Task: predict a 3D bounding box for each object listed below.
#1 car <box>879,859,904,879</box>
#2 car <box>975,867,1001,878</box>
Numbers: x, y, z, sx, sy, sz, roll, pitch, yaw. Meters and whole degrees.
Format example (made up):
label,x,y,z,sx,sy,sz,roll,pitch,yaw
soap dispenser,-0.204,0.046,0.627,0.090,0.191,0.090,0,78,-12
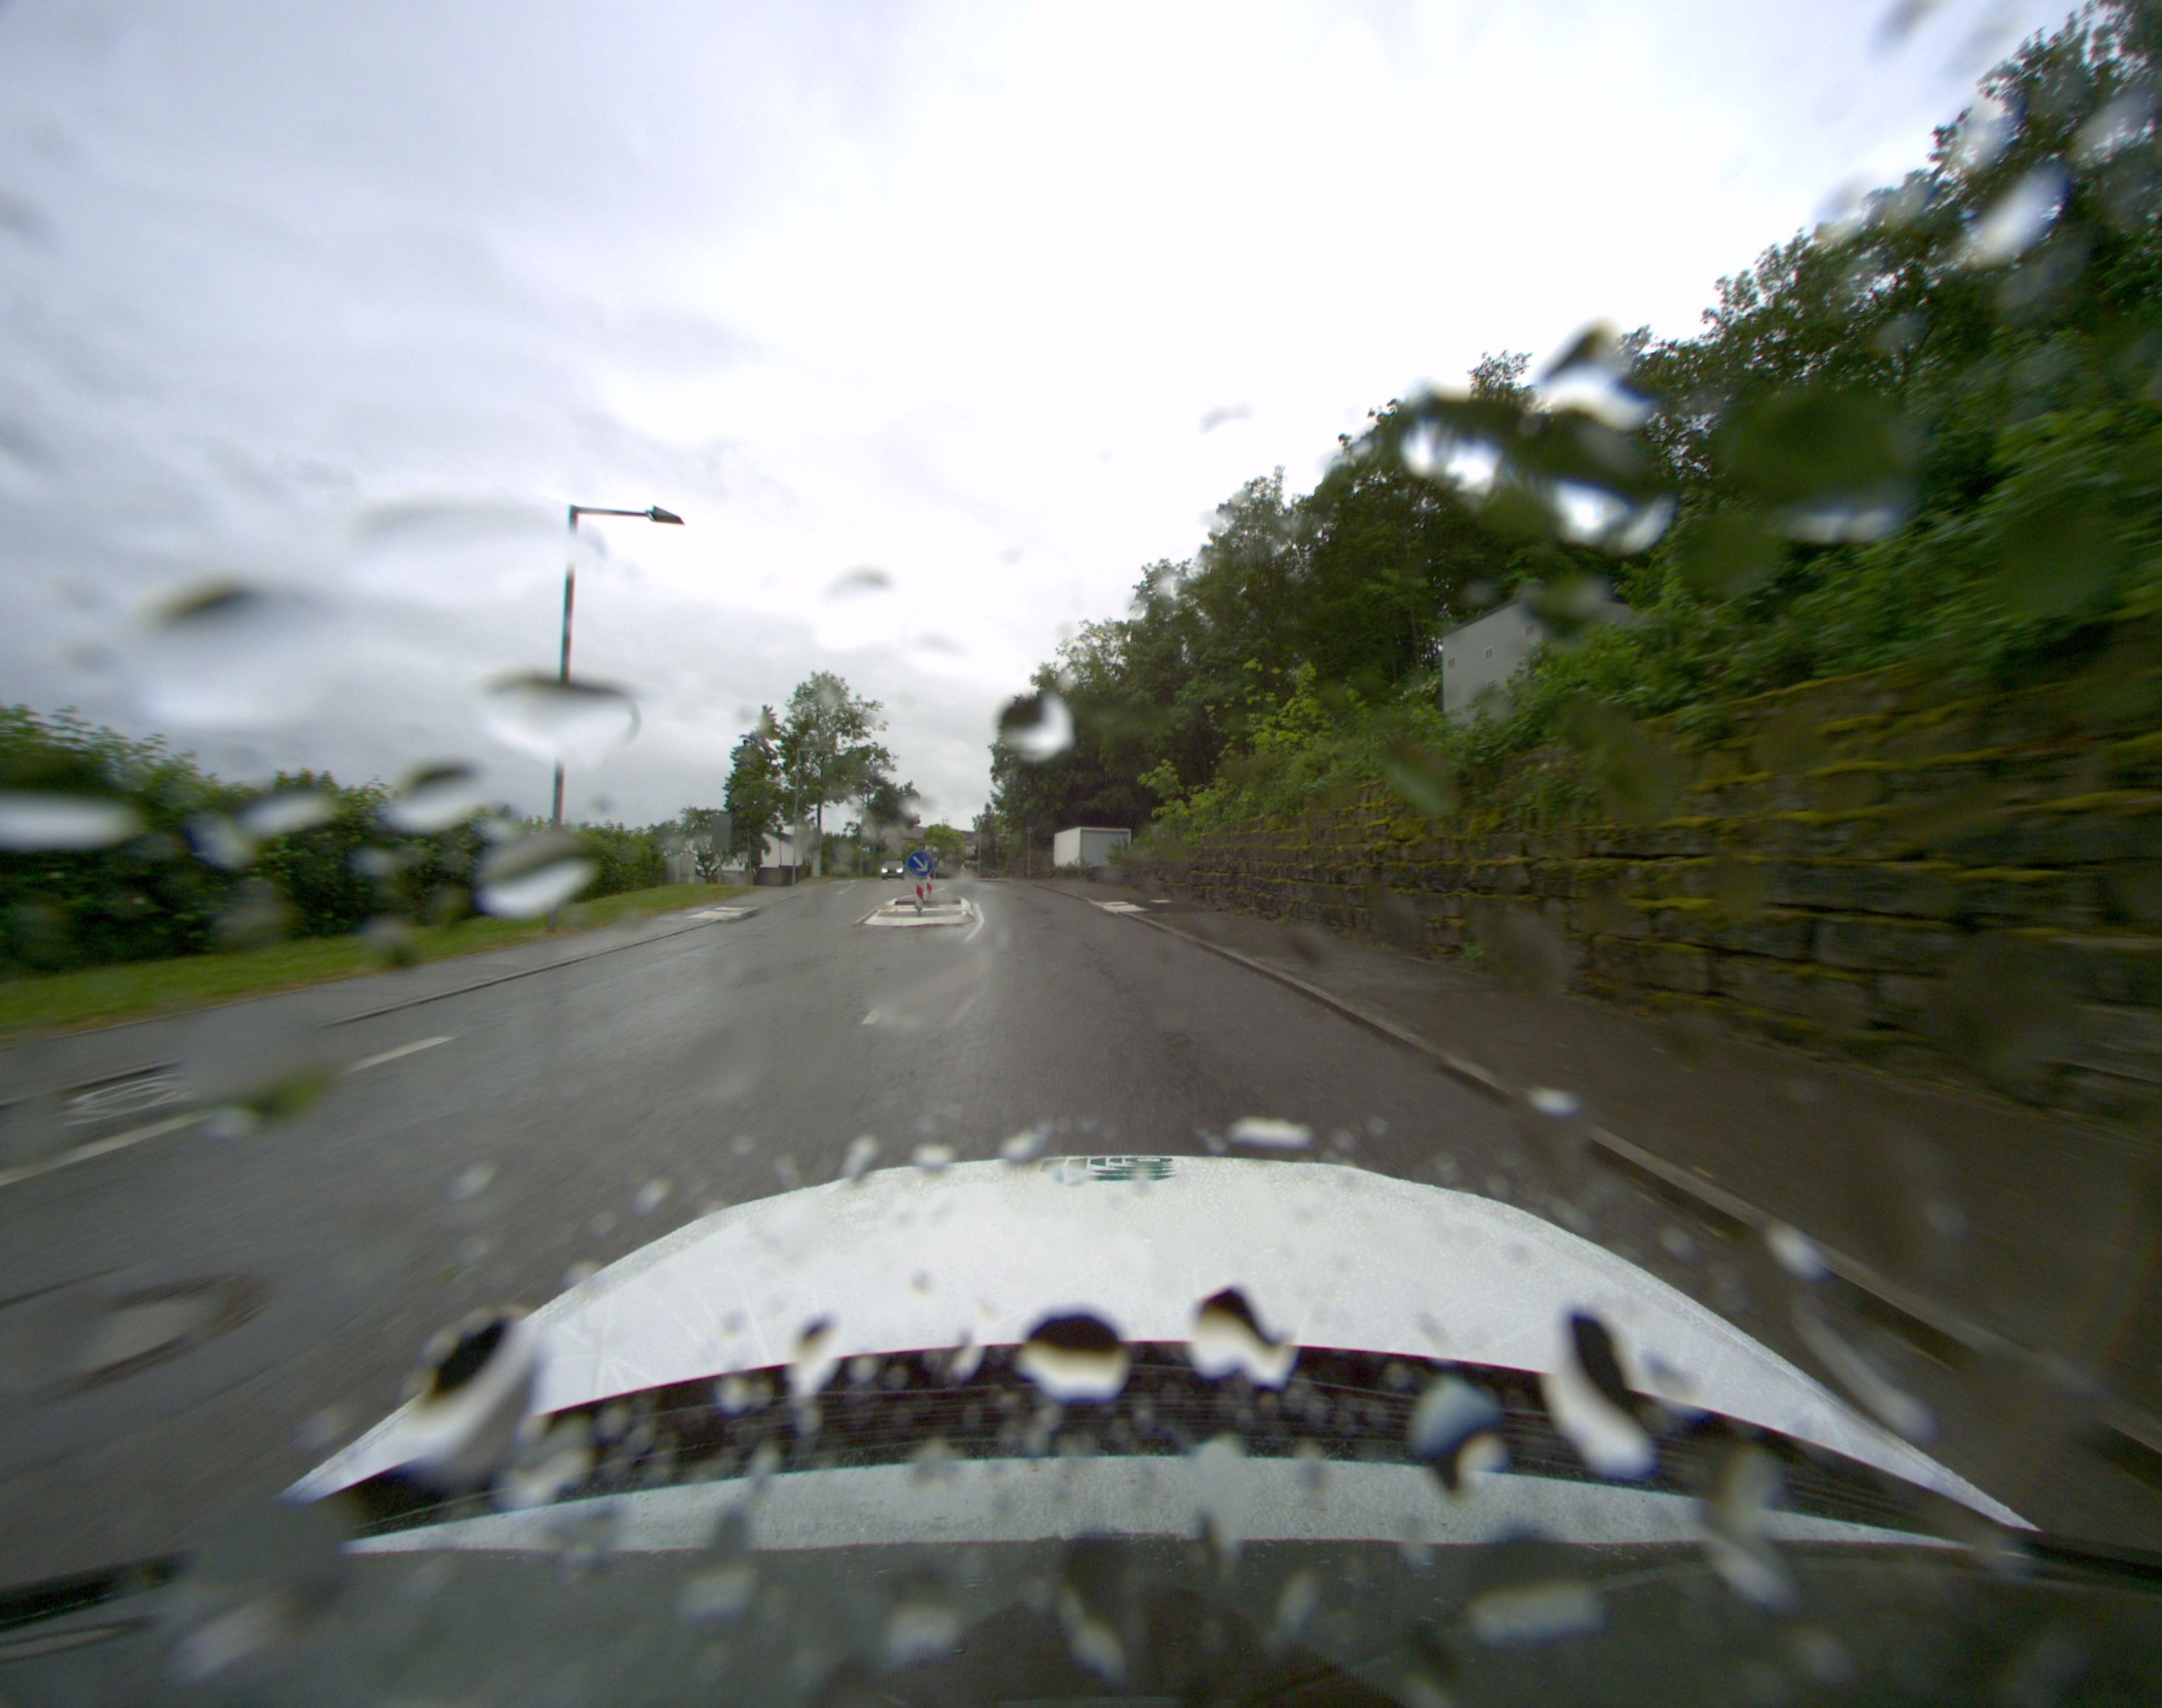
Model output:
label,x,y,z,sx,sy,sz,roll,pitch,yaw
car,-15.067,1.165,64.614,1.834,1.520,4.605,-1,-1,-14
car,-12.604,2.532,110.225,1.947,1.389,3.958,4,-3,-33
